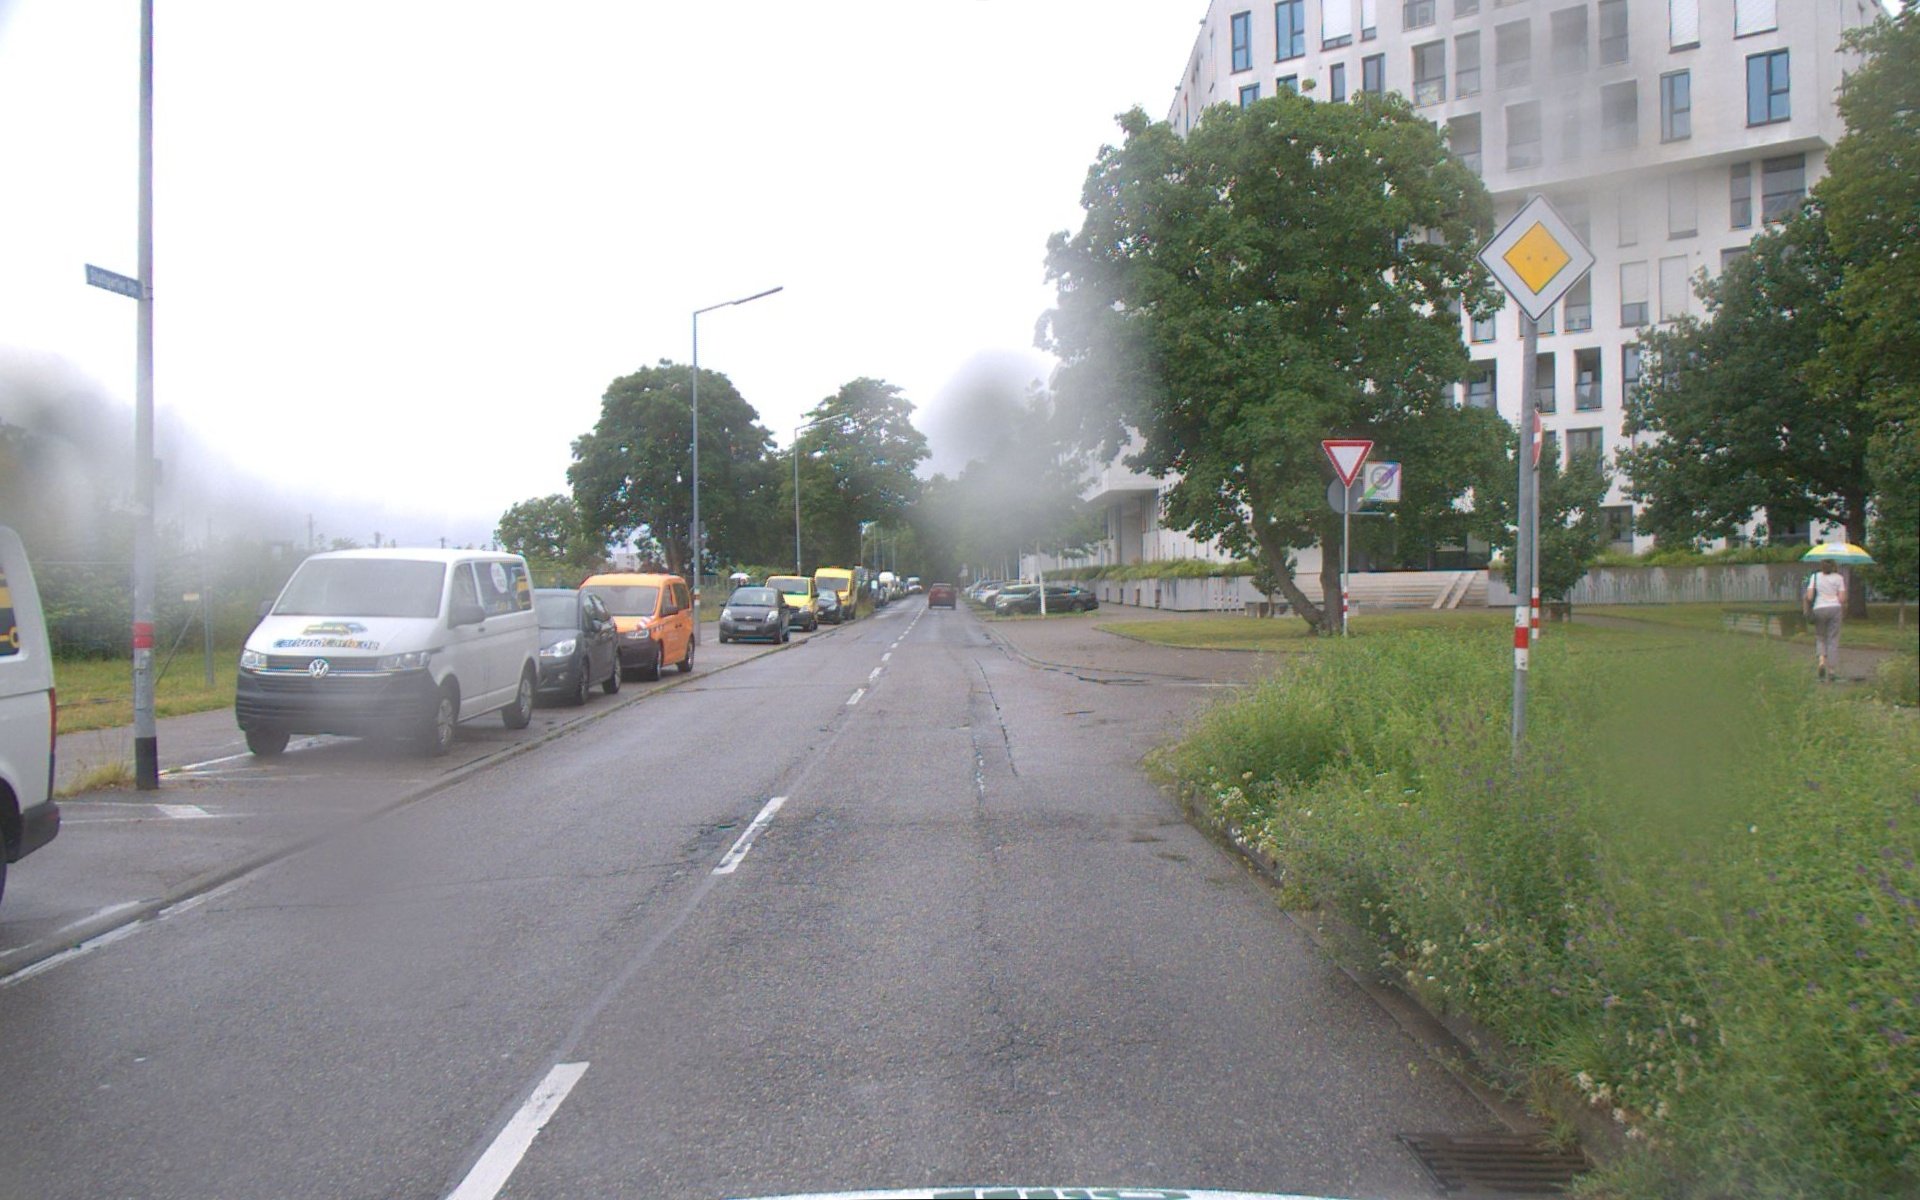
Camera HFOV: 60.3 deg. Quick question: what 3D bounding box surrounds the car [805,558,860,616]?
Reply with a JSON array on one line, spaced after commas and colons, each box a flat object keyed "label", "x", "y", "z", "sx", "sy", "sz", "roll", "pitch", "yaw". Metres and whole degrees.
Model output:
[{"label": "car", "x": -6.317, "y": -0.663, "z": 82.697, "sx": 2.146, "sy": 2.741, "sz": 6.082, "roll": 2, "pitch": 0, "yaw": 1}]

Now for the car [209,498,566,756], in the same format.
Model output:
[{"label": "car", "x": -5.772, "y": 0.195, "z": 17.565, "sx": 1.903, "sy": 2.275, "sz": 5.557, "roll": -1, "pitch": 1, "yaw": -1}]

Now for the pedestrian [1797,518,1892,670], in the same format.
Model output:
[{"label": "pedestrian", "x": 12.180, "y": -0.088, "z": 22.792, "sx": 0.945, "sy": 2.049, "sz": 0.622, "roll": -1, "pitch": 1, "yaw": -1}]

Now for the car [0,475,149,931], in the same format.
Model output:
[{"label": "car", "x": -5.367, "y": 0.487, "z": 6.355, "sx": 1.920, "sy": 2.094, "sz": 5.274, "roll": 0, "pitch": 1, "yaw": 0}]

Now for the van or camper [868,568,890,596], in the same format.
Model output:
[{"label": "van or camper", "x": -8.377, "y": -1.870, "z": 171.643, "sx": 1.953, "sy": 2.810, "sz": 7.897, "roll": 0, "pitch": 0, "yaw": 0}]

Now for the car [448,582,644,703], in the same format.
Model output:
[{"label": "car", "x": -5.818, "y": 0.522, "z": 23.825, "sx": 1.649, "sy": 1.528, "sz": 4.891, "roll": -1, "pitch": 1, "yaw": -1}]

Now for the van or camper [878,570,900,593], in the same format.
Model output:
[{"label": "van or camper", "x": -7.854, "y": -2.083, "z": 184.027, "sx": 2.144, "sy": 2.504, "sz": 6.376, "roll": 0, "pitch": 0, "yaw": 0}]

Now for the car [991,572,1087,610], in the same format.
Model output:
[{"label": "car", "x": 3.730, "y": -0.424, "z": 78.416, "sx": 4.397, "sy": 1.507, "sz": 1.692, "roll": -4, "pitch": 0, "yaw": -1}]

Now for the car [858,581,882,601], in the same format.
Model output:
[{"label": "car", "x": -7.350, "y": -0.749, "z": 135.261, "sx": 1.737, "sy": 1.529, "sz": 4.827, "roll": 1, "pitch": 0, "yaw": 0}]

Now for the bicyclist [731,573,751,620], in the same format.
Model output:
[{"label": "bicyclist", "x": -8.642, "y": -0.146, "z": 65.318, "sx": 0.684, "sy": 1.861, "sz": 1.008, "roll": 0, "pitch": 1, "yaw": -1}]

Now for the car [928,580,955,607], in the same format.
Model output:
[{"label": "car", "x": -1.192, "y": -0.440, "z": 109.455, "sx": 1.720, "sy": 1.735, "sz": 4.000, "roll": -1, "pitch": 1, "yaw": 0}]

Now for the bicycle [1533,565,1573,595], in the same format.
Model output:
[{"label": "bicycle", "x": 20.988, "y": -0.709, "z": 58.502, "sx": 0.711, "sy": 1.051, "sz": 2.064, "roll": -1, "pitch": 1, "yaw": 38}]

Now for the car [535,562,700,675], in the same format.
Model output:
[{"label": "car", "x": -5.886, "y": 0.279, "z": 28.951, "sx": 1.900, "sy": 1.798, "sz": 4.332, "roll": -1, "pitch": 1, "yaw": 1}]

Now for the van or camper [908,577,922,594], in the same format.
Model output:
[{"label": "van or camper", "x": -6.897, "y": -2.224, "z": 254.744, "sx": 1.953, "sy": 2.540, "sz": 7.178, "roll": -2, "pitch": 1, "yaw": 0}]

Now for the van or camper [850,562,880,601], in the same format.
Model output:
[{"label": "van or camper", "x": -7.001, "y": -1.338, "z": 122.390, "sx": 2.052, "sy": 2.763, "sz": 7.570, "roll": 2, "pitch": 0, "yaw": -2}]

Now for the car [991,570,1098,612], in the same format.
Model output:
[{"label": "car", "x": 3.670, "y": -0.386, "z": 72.288, "sx": 4.479, "sy": 1.523, "sz": 1.825, "roll": -4, "pitch": 0, "yaw": -2}]

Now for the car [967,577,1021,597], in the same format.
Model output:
[{"label": "car", "x": 2.779, "y": -1.068, "z": 135.550, "sx": 4.213, "sy": 1.453, "sz": 1.636, "roll": -3, "pitch": 0, "yaw": -3}]

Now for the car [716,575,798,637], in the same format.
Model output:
[{"label": "car", "x": -5.599, "y": 0.126, "z": 46.025, "sx": 1.767, "sy": 1.588, "sz": 4.033, "roll": 2, "pitch": 1, "yaw": 0}]

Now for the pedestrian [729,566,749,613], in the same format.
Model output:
[{"label": "pedestrian", "x": -9.712, "y": -0.466, "z": 72.735, "sx": 0.727, "sy": 2.049, "sz": 0.980, "roll": 0, "pitch": 0, "yaw": 0}]

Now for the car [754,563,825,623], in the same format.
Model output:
[{"label": "car", "x": -6.002, "y": -0.251, "z": 58.861, "sx": 1.976, "sy": 1.990, "sz": 6.064, "roll": 1, "pitch": 0, "yaw": -1}]

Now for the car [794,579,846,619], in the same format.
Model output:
[{"label": "car", "x": -5.985, "y": -0.047, "z": 71.162, "sx": 1.953, "sy": 1.622, "sz": 5.016, "roll": 2, "pitch": 0, "yaw": -2}]

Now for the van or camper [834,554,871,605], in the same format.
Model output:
[{"label": "van or camper", "x": -6.943, "y": -1.298, "z": 107.255, "sx": 2.052, "sy": 3.148, "sz": 6.422, "roll": 2, "pitch": 0, "yaw": -2}]

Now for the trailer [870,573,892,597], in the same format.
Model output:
[{"label": "trailer", "x": -7.547, "y": -1.405, "z": 157.471, "sx": 2.017, "sy": 2.256, "sz": 5.792, "roll": 0, "pitch": 1, "yaw": -2}]

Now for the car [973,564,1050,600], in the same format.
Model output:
[{"label": "car", "x": 3.121, "y": -1.117, "z": 101.328, "sx": 4.451, "sy": 1.714, "sz": 1.885, "roll": -6, "pitch": 1, "yaw": -4}]
